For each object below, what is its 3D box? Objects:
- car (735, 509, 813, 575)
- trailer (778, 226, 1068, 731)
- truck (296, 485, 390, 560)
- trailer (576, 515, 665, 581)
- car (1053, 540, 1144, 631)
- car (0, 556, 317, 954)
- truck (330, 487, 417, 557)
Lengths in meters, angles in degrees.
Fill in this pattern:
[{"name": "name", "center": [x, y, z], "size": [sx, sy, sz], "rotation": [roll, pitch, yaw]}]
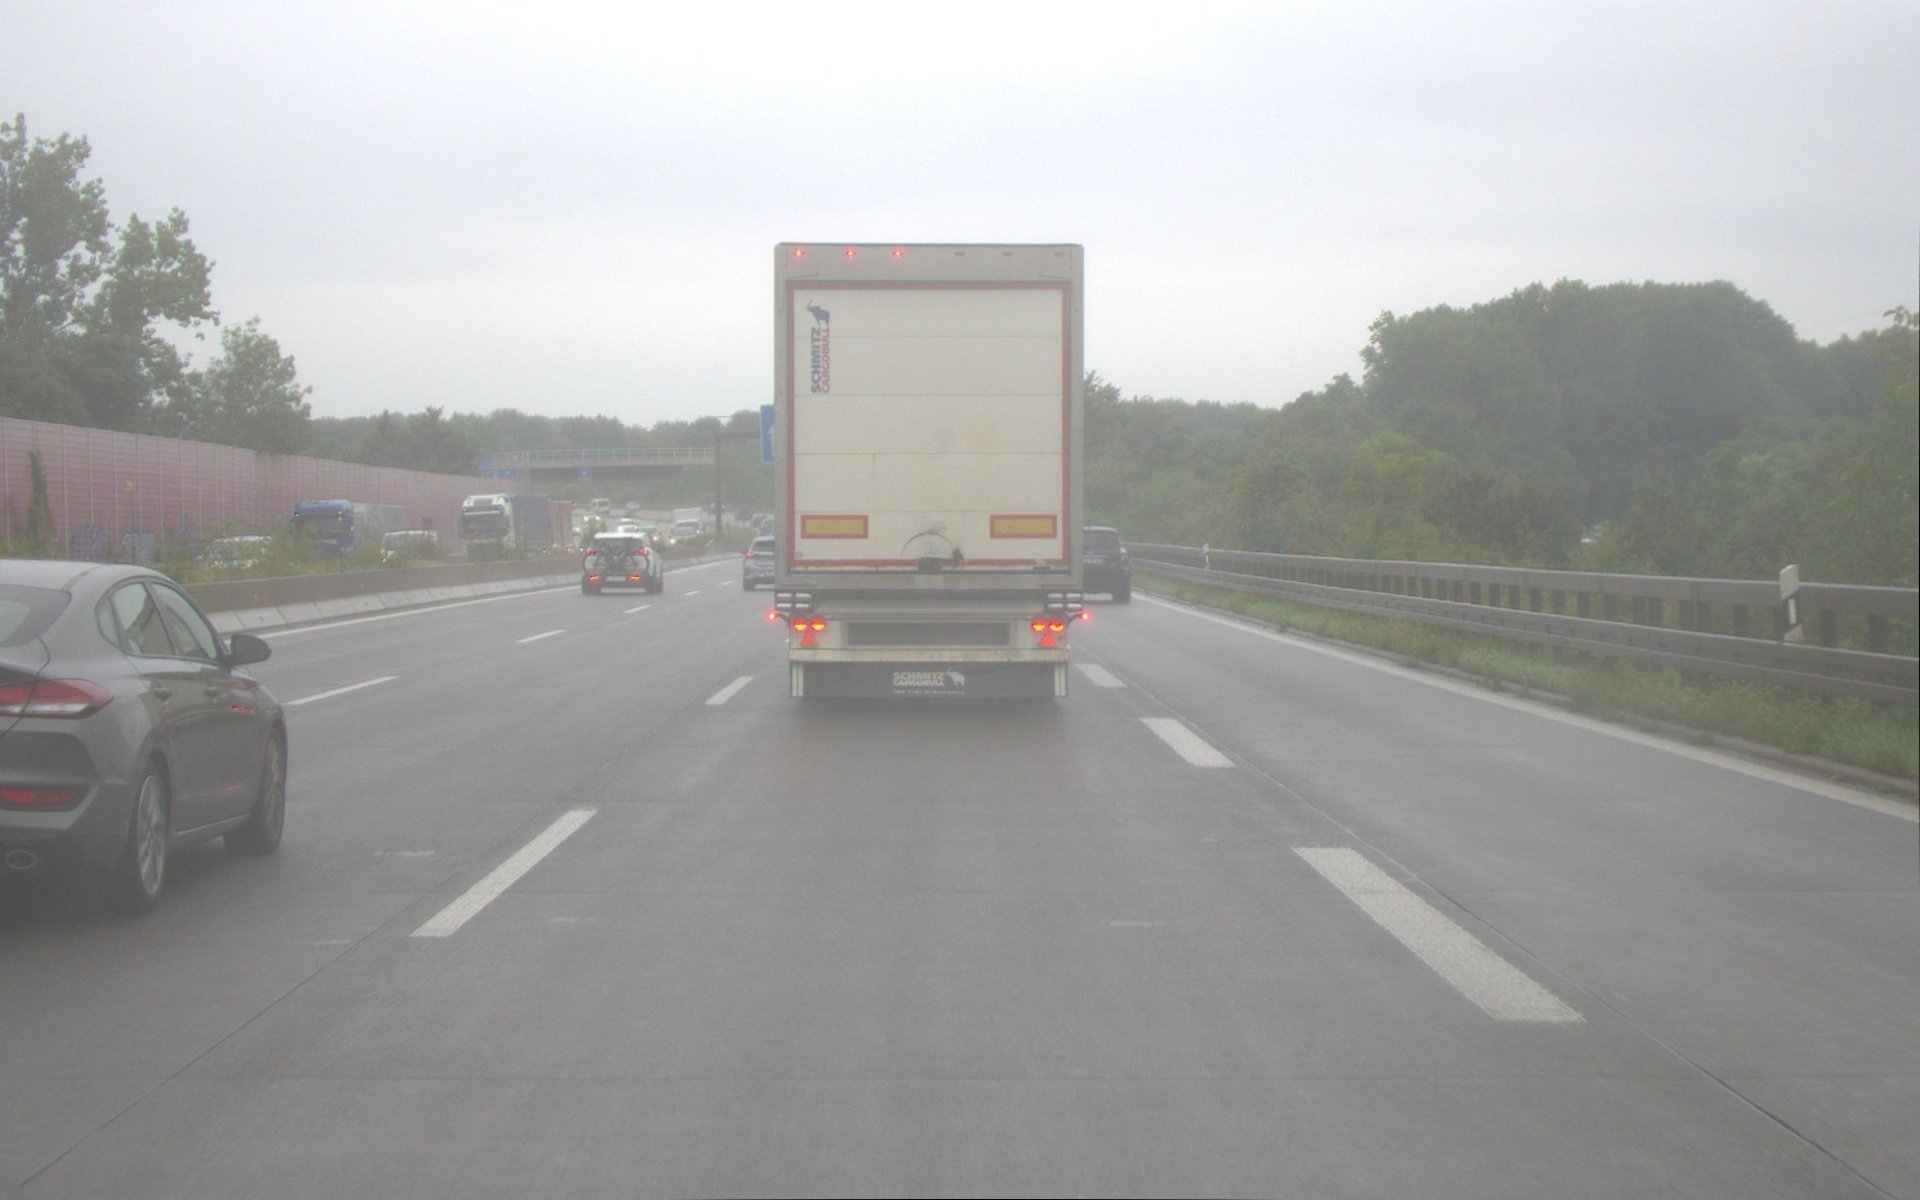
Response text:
[{"name": "car", "center": [-4.989, -1.588, 92.725], "size": [1.894, 1.717, 4.000], "rotation": [1, 1, 0]}, {"name": "trailer", "center": [-0.369, -1.312, 35.876], "size": [2.342, 4.143, 14.829], "rotation": [1, 2, -1]}, {"name": "truck", "center": [-28.784, -3.626, 160.854], "size": [2.712, 3.339, 10.433], "rotation": [1, 1, -1]}, {"name": "trailer", "center": [-8.567, -1.341, 87.073], "size": [1.815, 1.619, 4.568], "rotation": [0, 2, 0]}, {"name": "car", "center": [3.066, -0.355, 76.857], "size": [1.897, 1.943, 4.000], "rotation": [1, 1, 1]}, {"name": "car", "center": [-4.064, 0.529, 14.831], "size": [1.725, 1.398, 4.829], "rotation": [0, 1, -1]}, {"name": "truck", "center": [-29.000, -3.854, 170.377], "size": [2.972, 3.339, 8.701], "rotation": [1, 1, -1]}]
